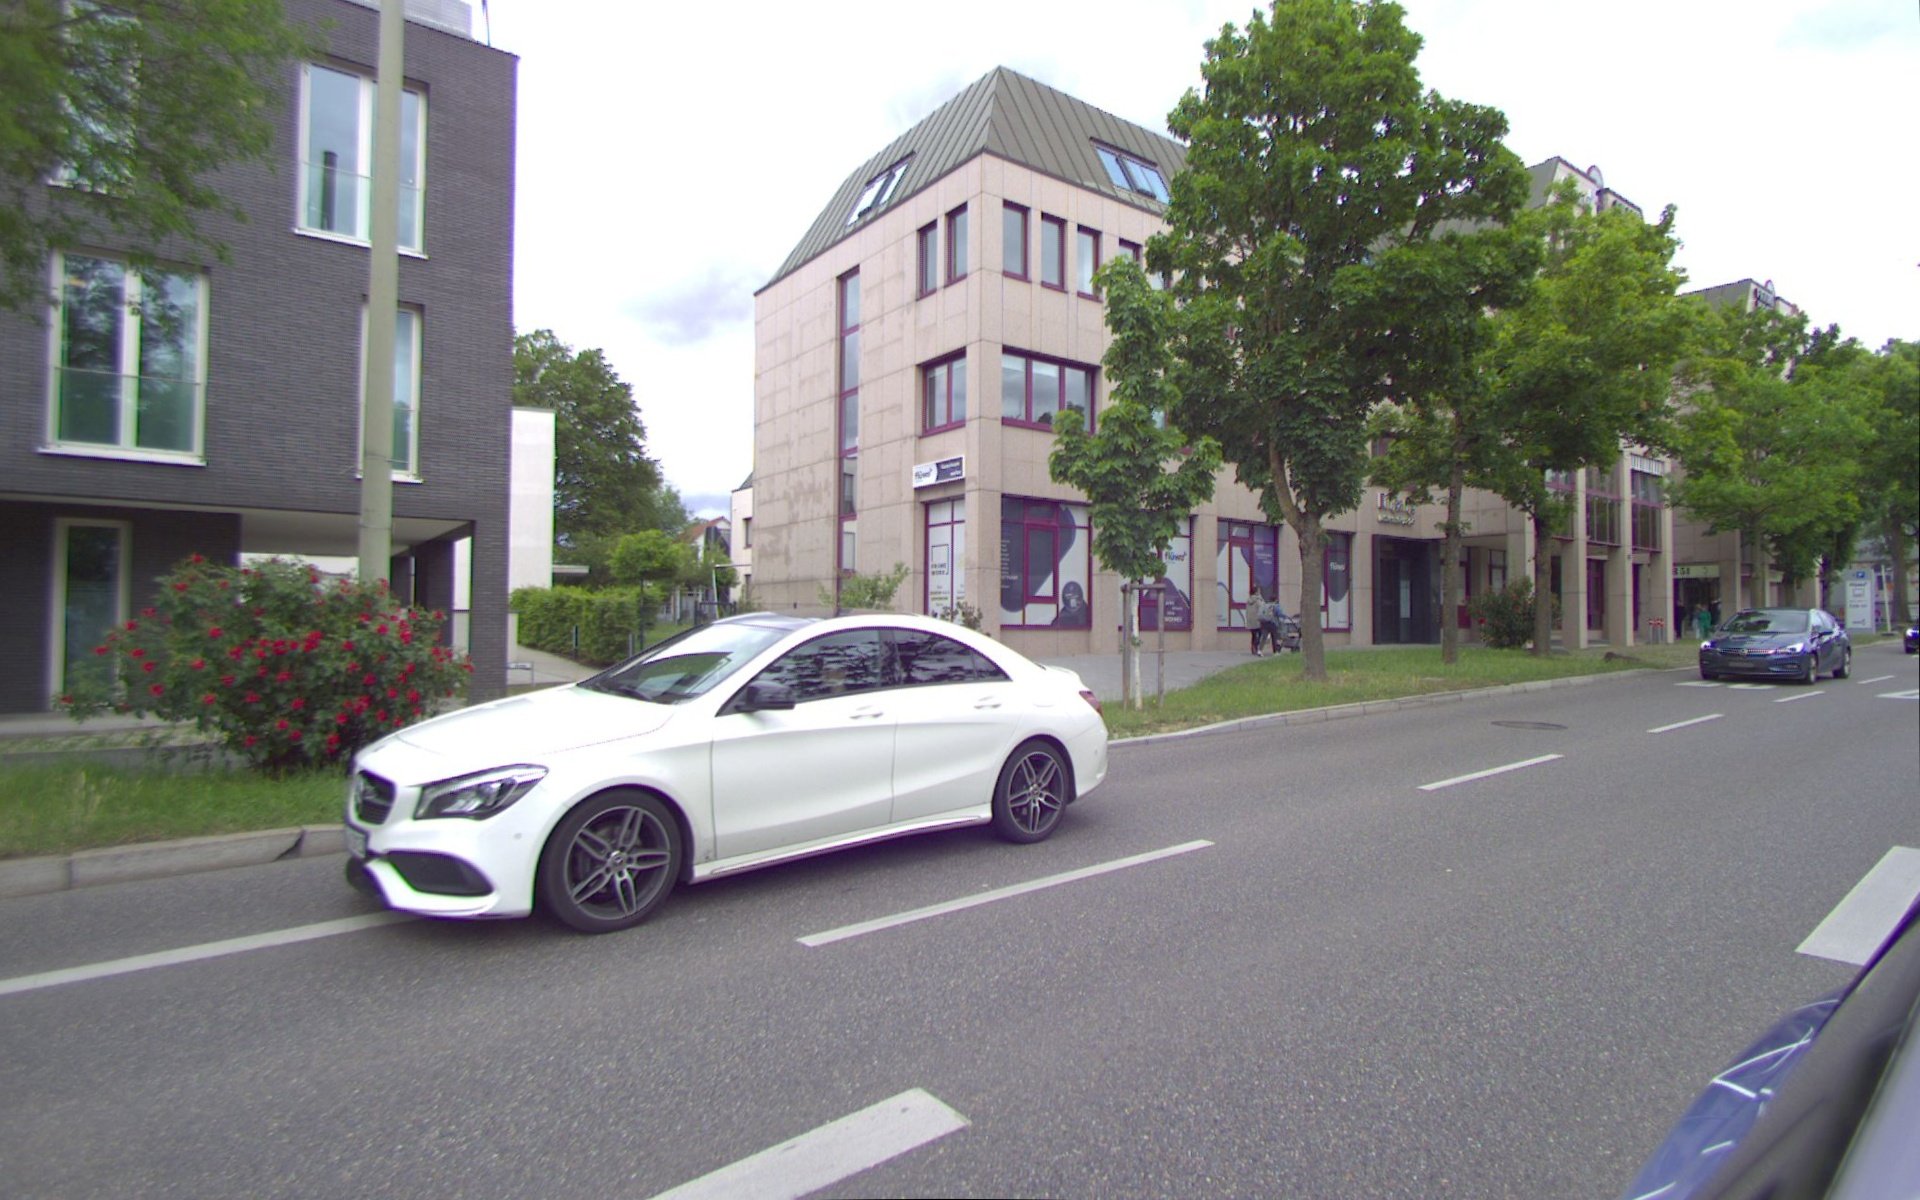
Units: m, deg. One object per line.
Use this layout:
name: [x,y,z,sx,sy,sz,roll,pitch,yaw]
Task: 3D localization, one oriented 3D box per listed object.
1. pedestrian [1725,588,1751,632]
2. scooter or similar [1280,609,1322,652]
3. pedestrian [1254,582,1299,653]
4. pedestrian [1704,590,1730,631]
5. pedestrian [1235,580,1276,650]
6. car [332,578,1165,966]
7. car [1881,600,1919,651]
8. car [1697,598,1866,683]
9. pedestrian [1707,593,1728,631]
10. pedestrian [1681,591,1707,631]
pedestrian: [32.631,0.408,42.440,0.827,1.849,0.659,0,1,-36]
scooter or similar: [8.354,0.739,24.789,0.830,1.006,0.585,0,0,-35]
pedestrian: [7.609,0.409,24.308,0.943,1.673,0.557,0,0,-35]
pedestrian: [32.266,0.438,43.132,0.827,1.712,0.659,0,1,-36]
pedestrian: [7.335,0.364,25.118,0.814,1.721,0.569,0,-1,-36]
car: [-0.954,0.652,6.083,4.616,1.491,1.797,-1,0,-40]
car: [29.943,0.750,31.228,4.344,1.467,1.767,-1,0,-41]
car: [16.437,0.726,20.186,4.238,1.457,1.970,0,1,-42]
pedestrian: [31.237,0.484,41.745,0.534,1.569,0.563,0,1,-36]
pedestrian: [31.745,0.468,43.779,0.827,1.712,0.659,0,1,-36]
